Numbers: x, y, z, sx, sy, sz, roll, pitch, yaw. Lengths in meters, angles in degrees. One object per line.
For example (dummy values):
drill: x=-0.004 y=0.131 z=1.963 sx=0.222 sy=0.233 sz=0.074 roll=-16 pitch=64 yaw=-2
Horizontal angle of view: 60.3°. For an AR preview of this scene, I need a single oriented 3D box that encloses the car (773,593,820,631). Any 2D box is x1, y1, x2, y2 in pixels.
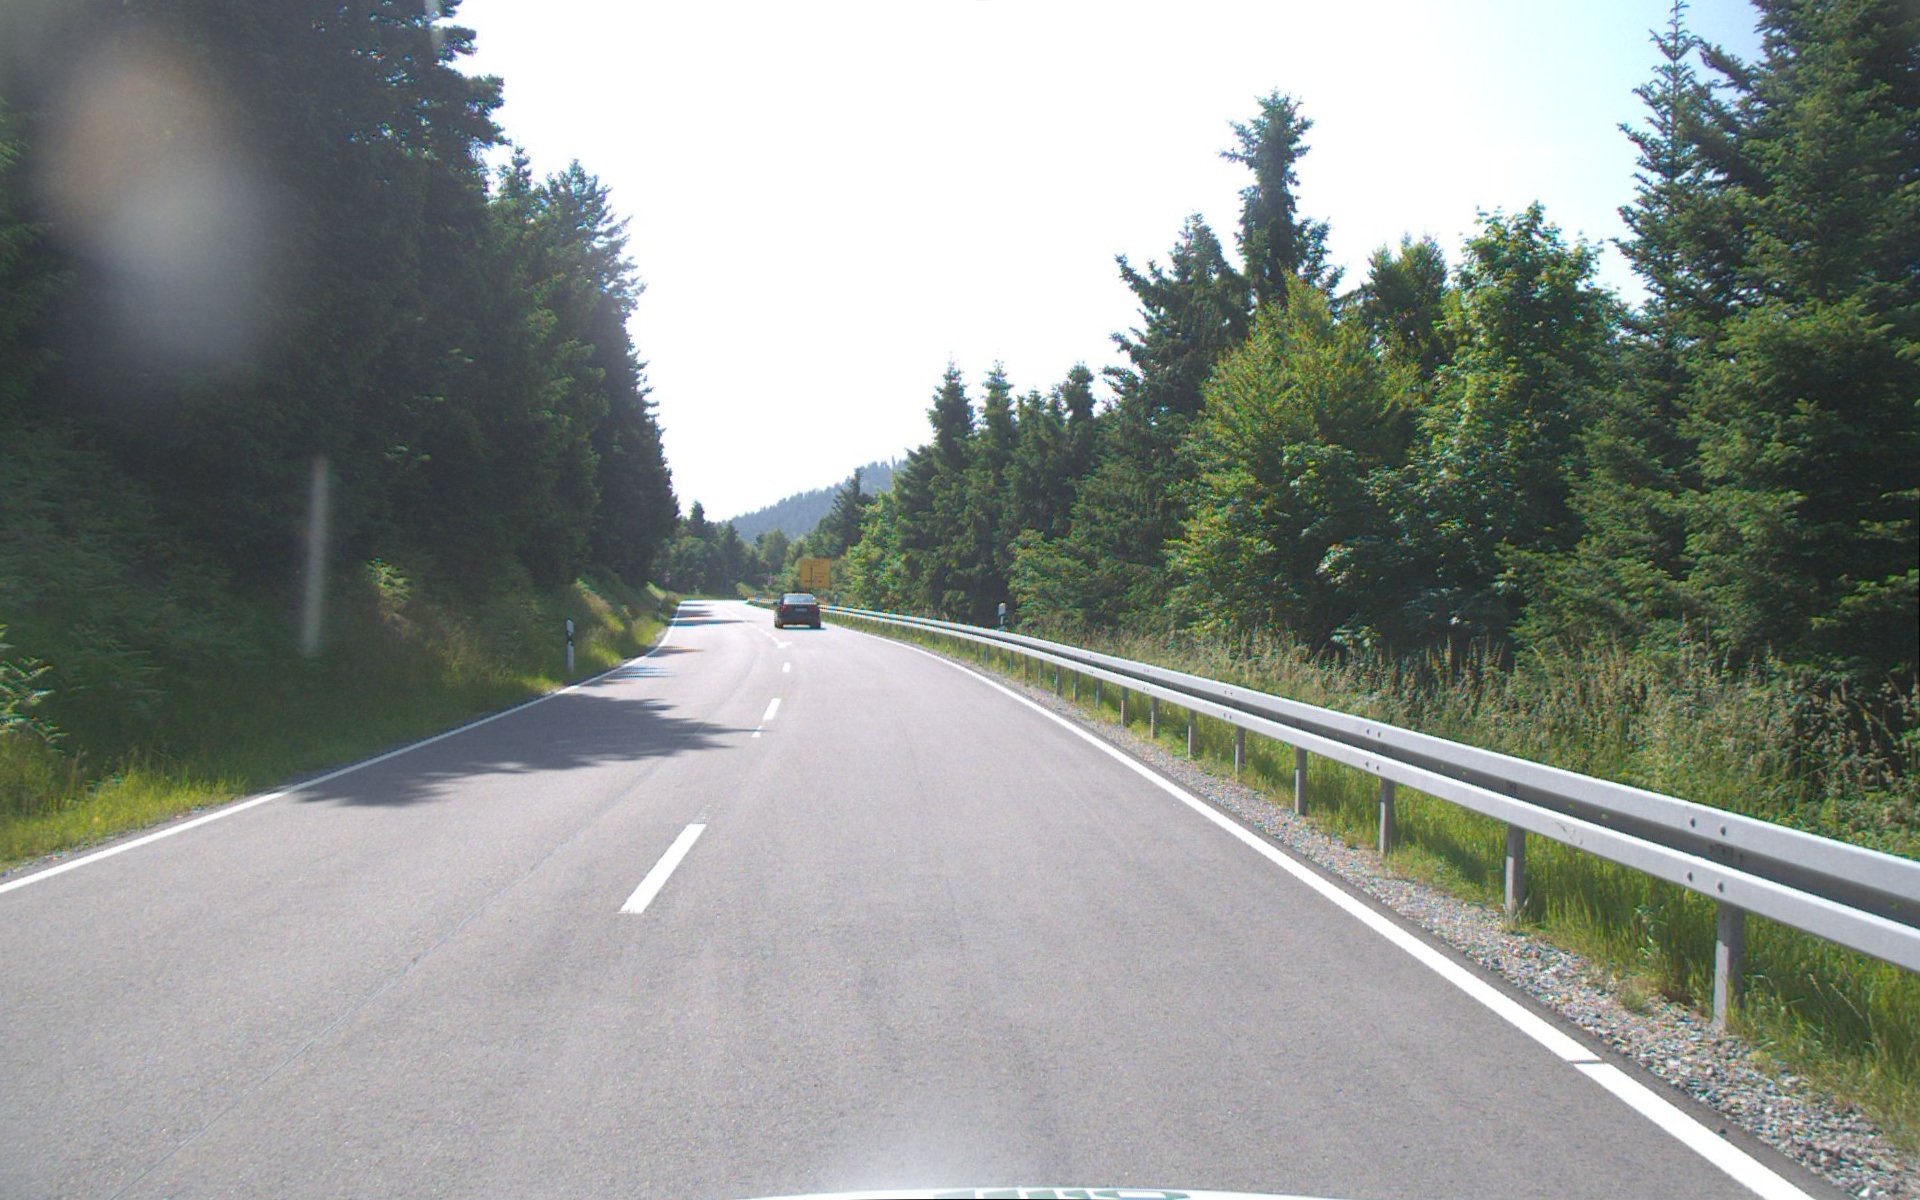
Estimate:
car: x=-6.790 y=0.490 z=68.474 sx=1.743 sy=1.467 sz=3.701 roll=-1 pitch=0 yaw=-9
